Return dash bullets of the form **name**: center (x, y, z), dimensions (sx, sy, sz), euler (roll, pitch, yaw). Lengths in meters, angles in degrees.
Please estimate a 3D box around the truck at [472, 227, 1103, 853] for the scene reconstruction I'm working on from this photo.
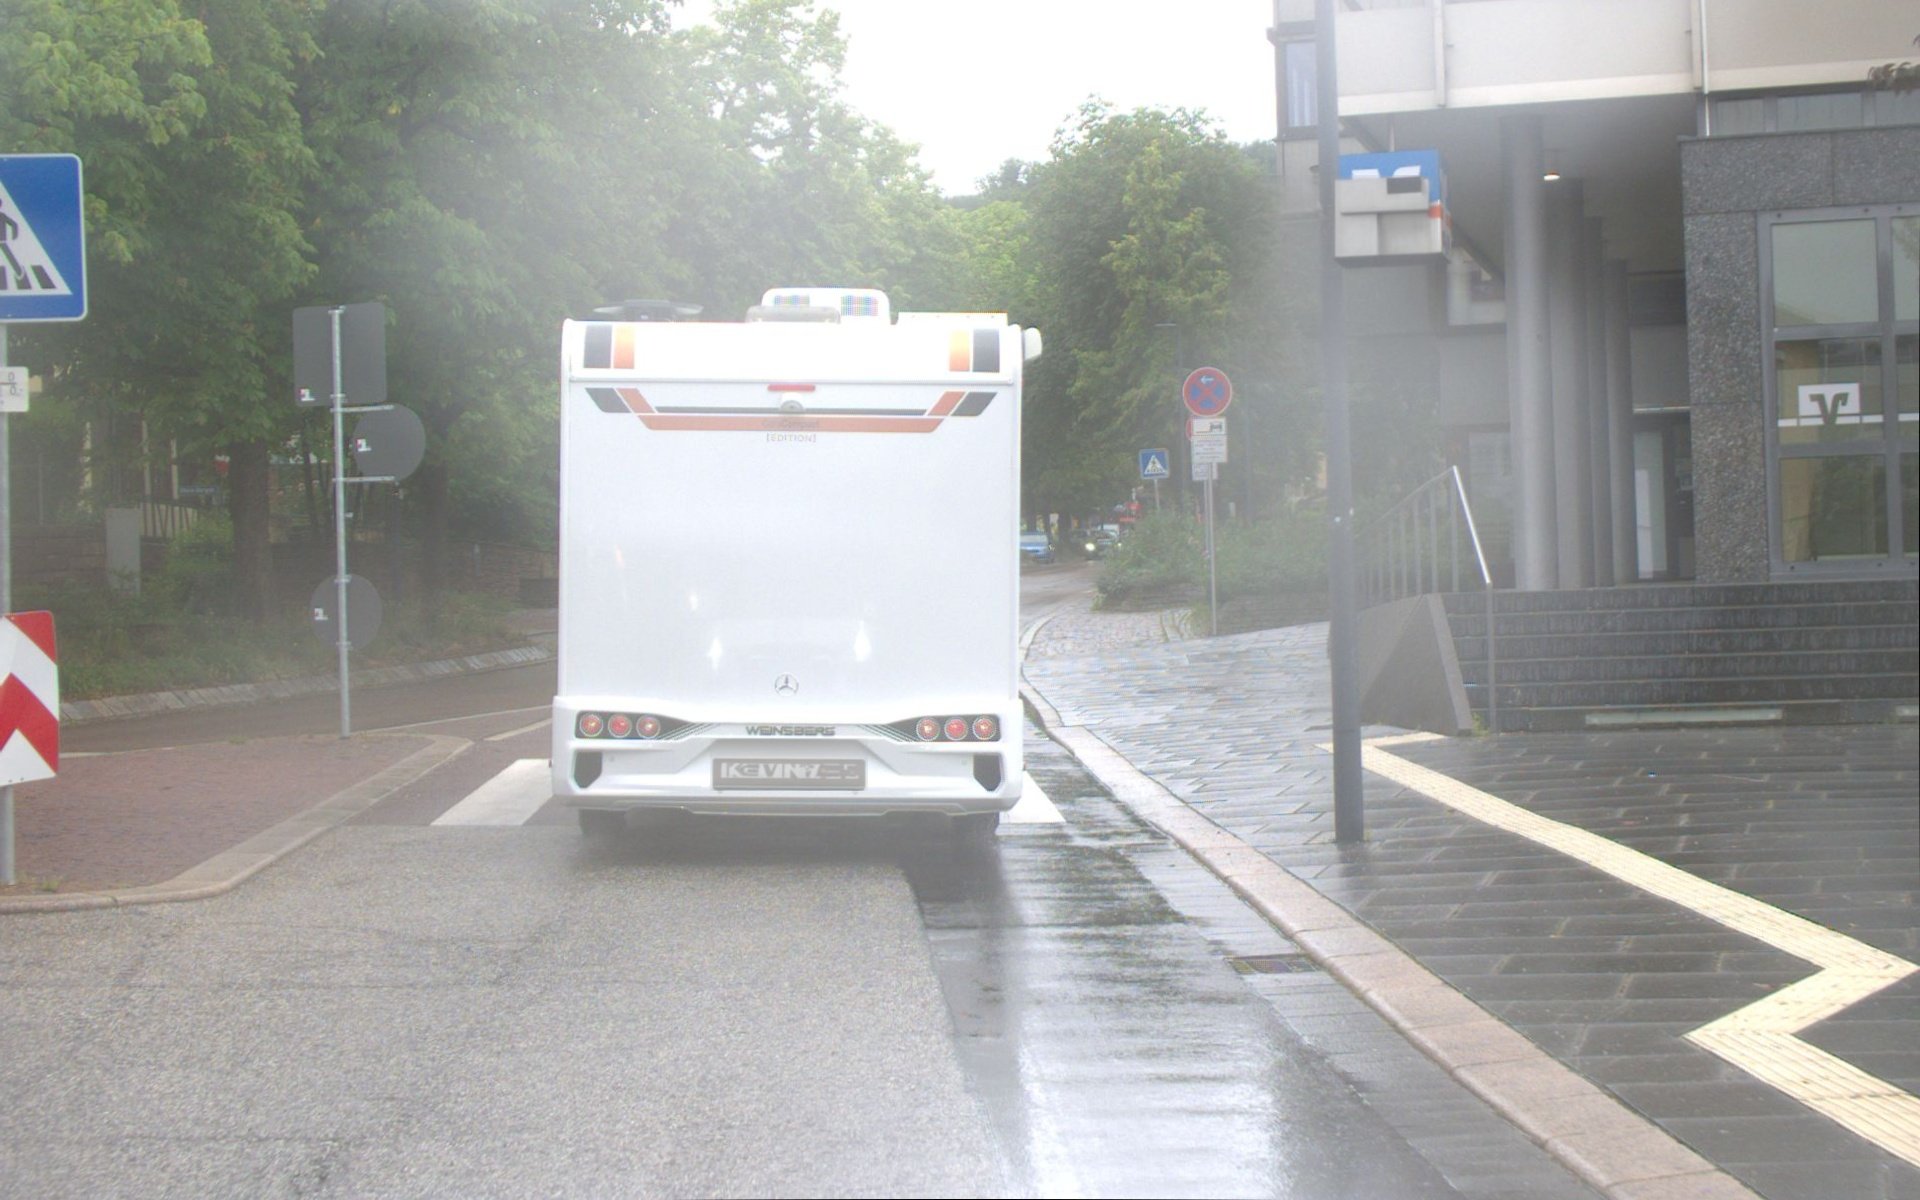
- **truck**: center (-0.878, -0.264, 19.016), dimensions (2.805, 2.787, 6.107), euler (-3, 0, -1)
